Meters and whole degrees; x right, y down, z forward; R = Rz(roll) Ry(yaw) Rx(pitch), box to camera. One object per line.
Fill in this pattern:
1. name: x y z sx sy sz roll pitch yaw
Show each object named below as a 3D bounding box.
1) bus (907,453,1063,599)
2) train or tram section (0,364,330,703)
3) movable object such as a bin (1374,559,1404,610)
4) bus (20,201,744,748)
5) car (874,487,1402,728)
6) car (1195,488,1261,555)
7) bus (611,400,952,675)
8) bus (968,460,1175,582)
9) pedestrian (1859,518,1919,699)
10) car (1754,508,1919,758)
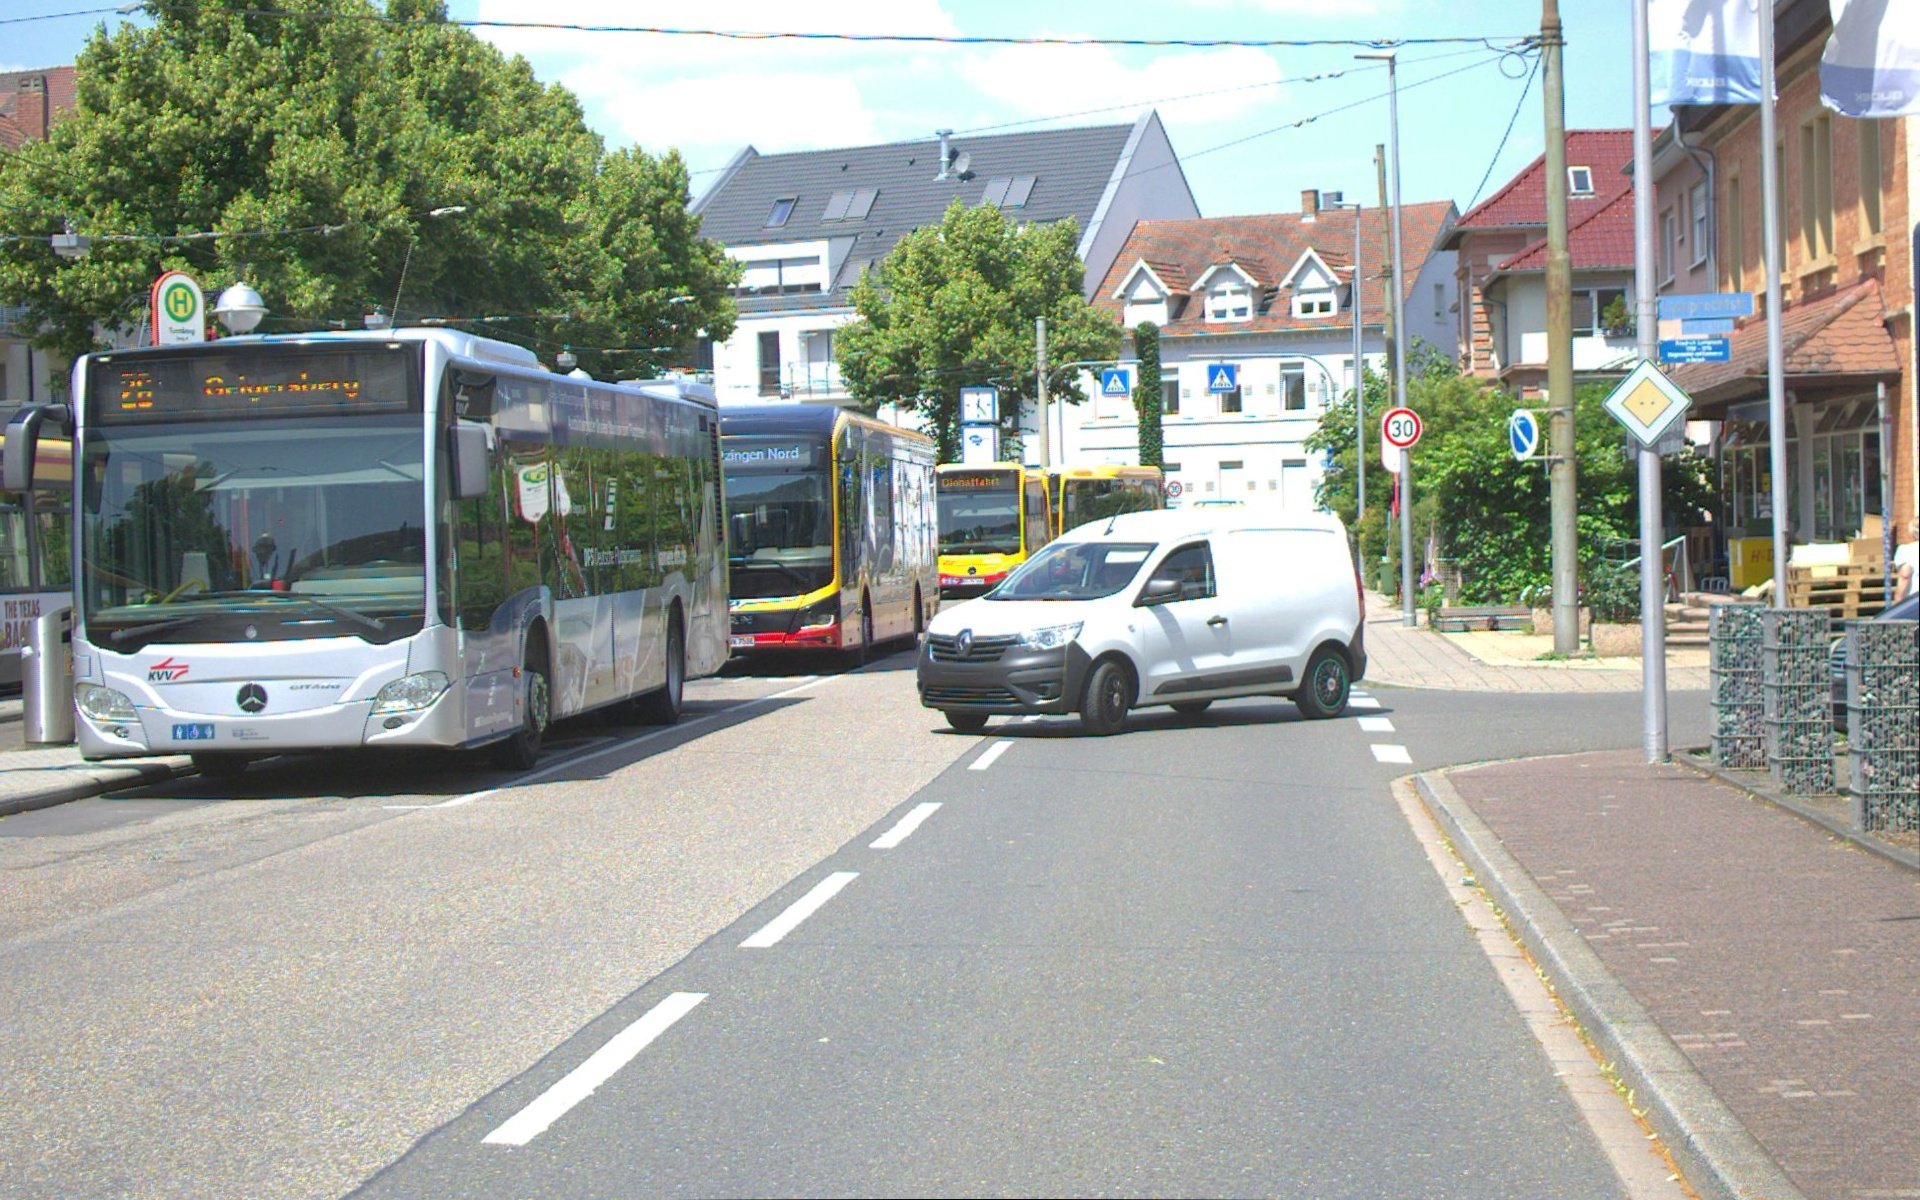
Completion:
1. bus: 0.746 -1.760 82.980 2.908 3.237 12.117 1 1 4
2. train or tram section: -11.397 -0.808 41.579 2.964 3.630 17.349 1 1 5
3. movable object such as a bin: 7.884 -0.289 63.212 0.406 0.904 0.729 -5 0 2
4. bus: -4.028 -0.803 27.661 2.908 3.415 12.038 1 0 4
5. car: 1.574 -0.007 28.866 4.701 1.844 1.708 -2 2 -45
6. car: 8.555 -2.485 109.496 1.994 2.007 3.999 1 0 5
7. bus: -2.146 -0.752 46.916 2.898 3.236 12.194 1 0 5
8. bus: 3.291 -2.295 96.504 2.782 3.197 12.298 1 2 16
9. pedestrian: 8.767 0.074 31.804 0.706 1.636 0.659 -1 3 25
10. car: 7.380 0.160 22.374 3.875 1.538 1.843 -1 0 -8
